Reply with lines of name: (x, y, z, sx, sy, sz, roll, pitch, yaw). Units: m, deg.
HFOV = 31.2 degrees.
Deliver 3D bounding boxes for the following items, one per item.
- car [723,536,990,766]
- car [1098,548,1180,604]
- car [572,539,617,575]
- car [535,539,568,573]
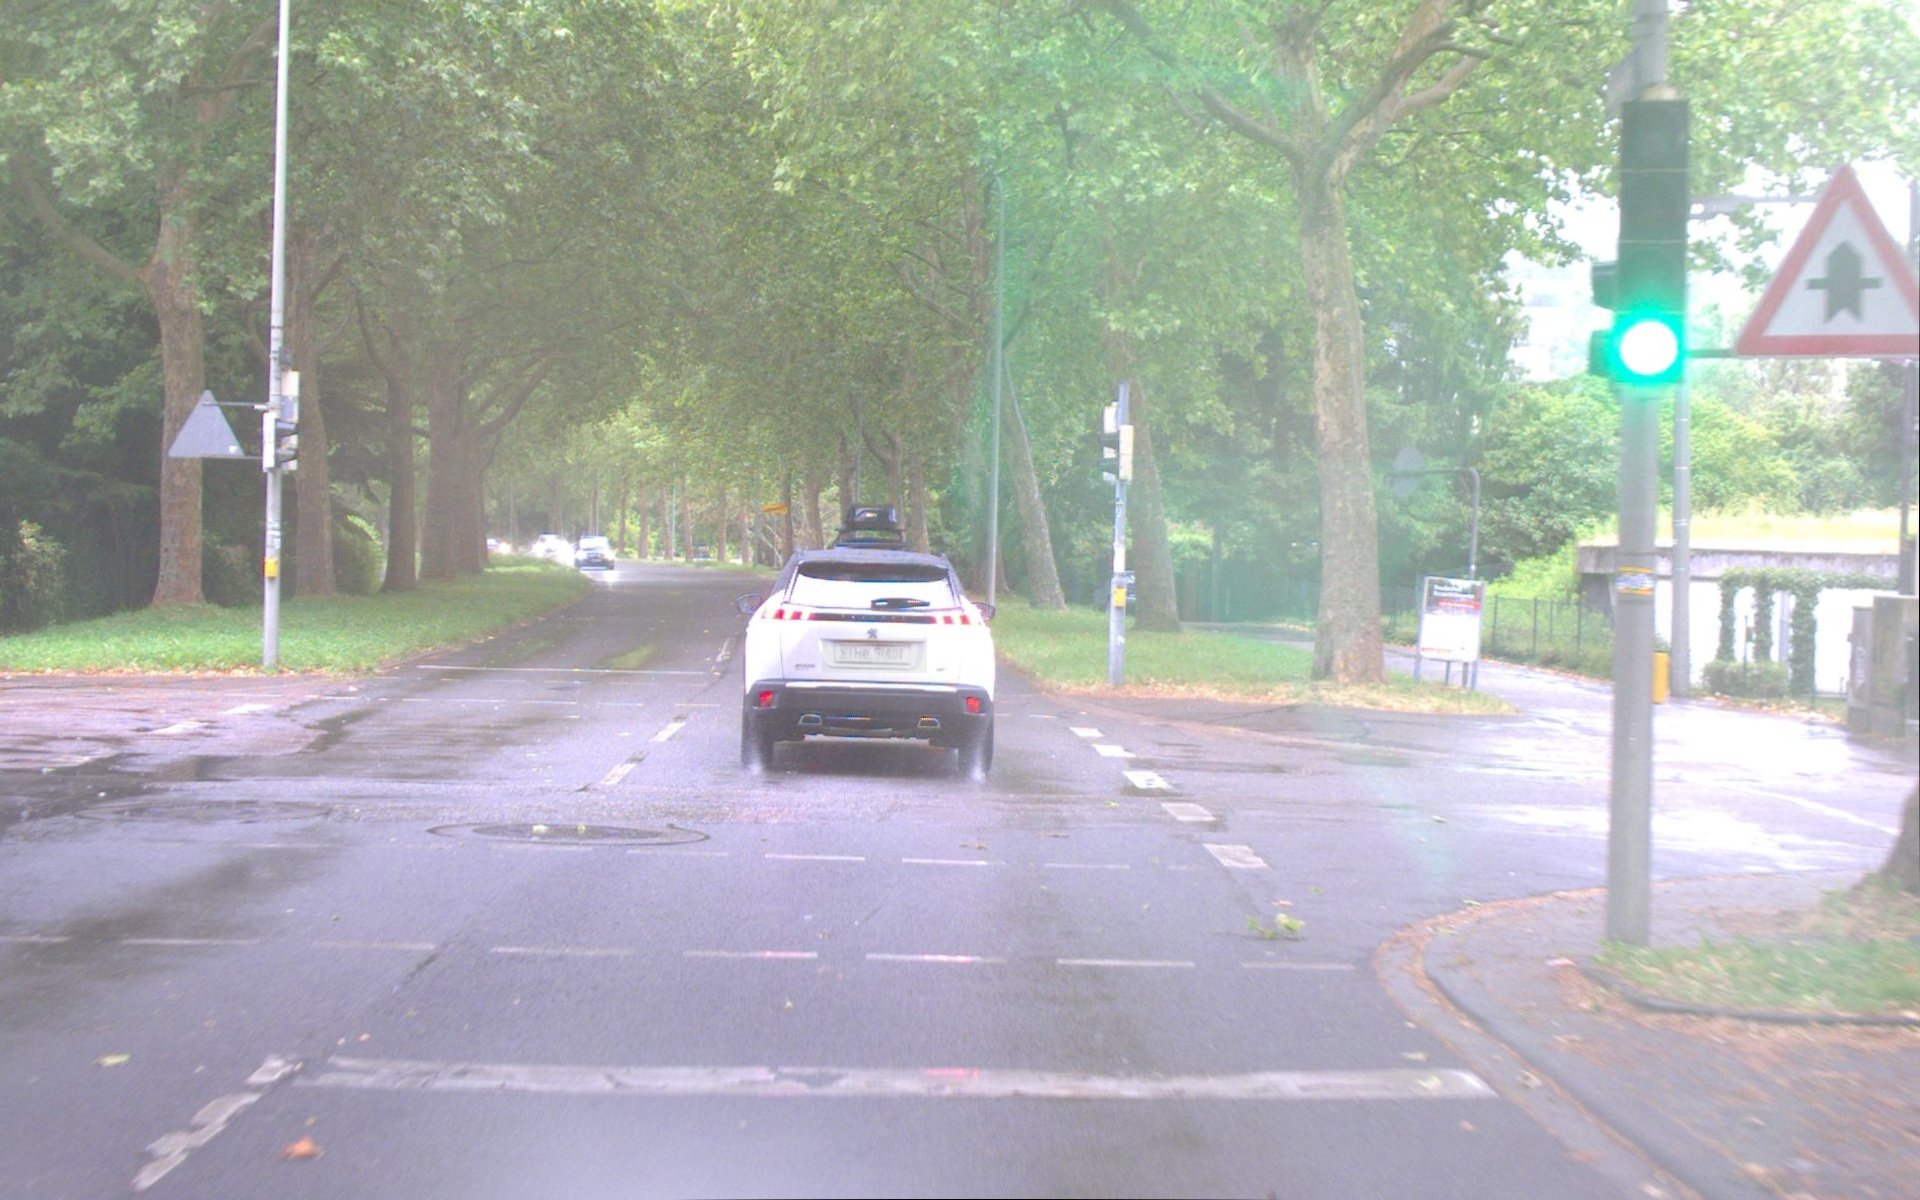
car: (-0.794, 0.324, 25.279, 1.780, 1.531, 4.058, 1, 1, -3)
car: (5.019, -0.685, 96.946, 1.905, 1.504, 3.932, 1, 1, -2)
car: (-17.657, -2.082, 166.206, 1.873, 1.671, 3.708, 1, 1, -2)
car: (-24.488, -2.647, 206.233, 1.741, 2.007, 3.665, 2, 1, -4)
